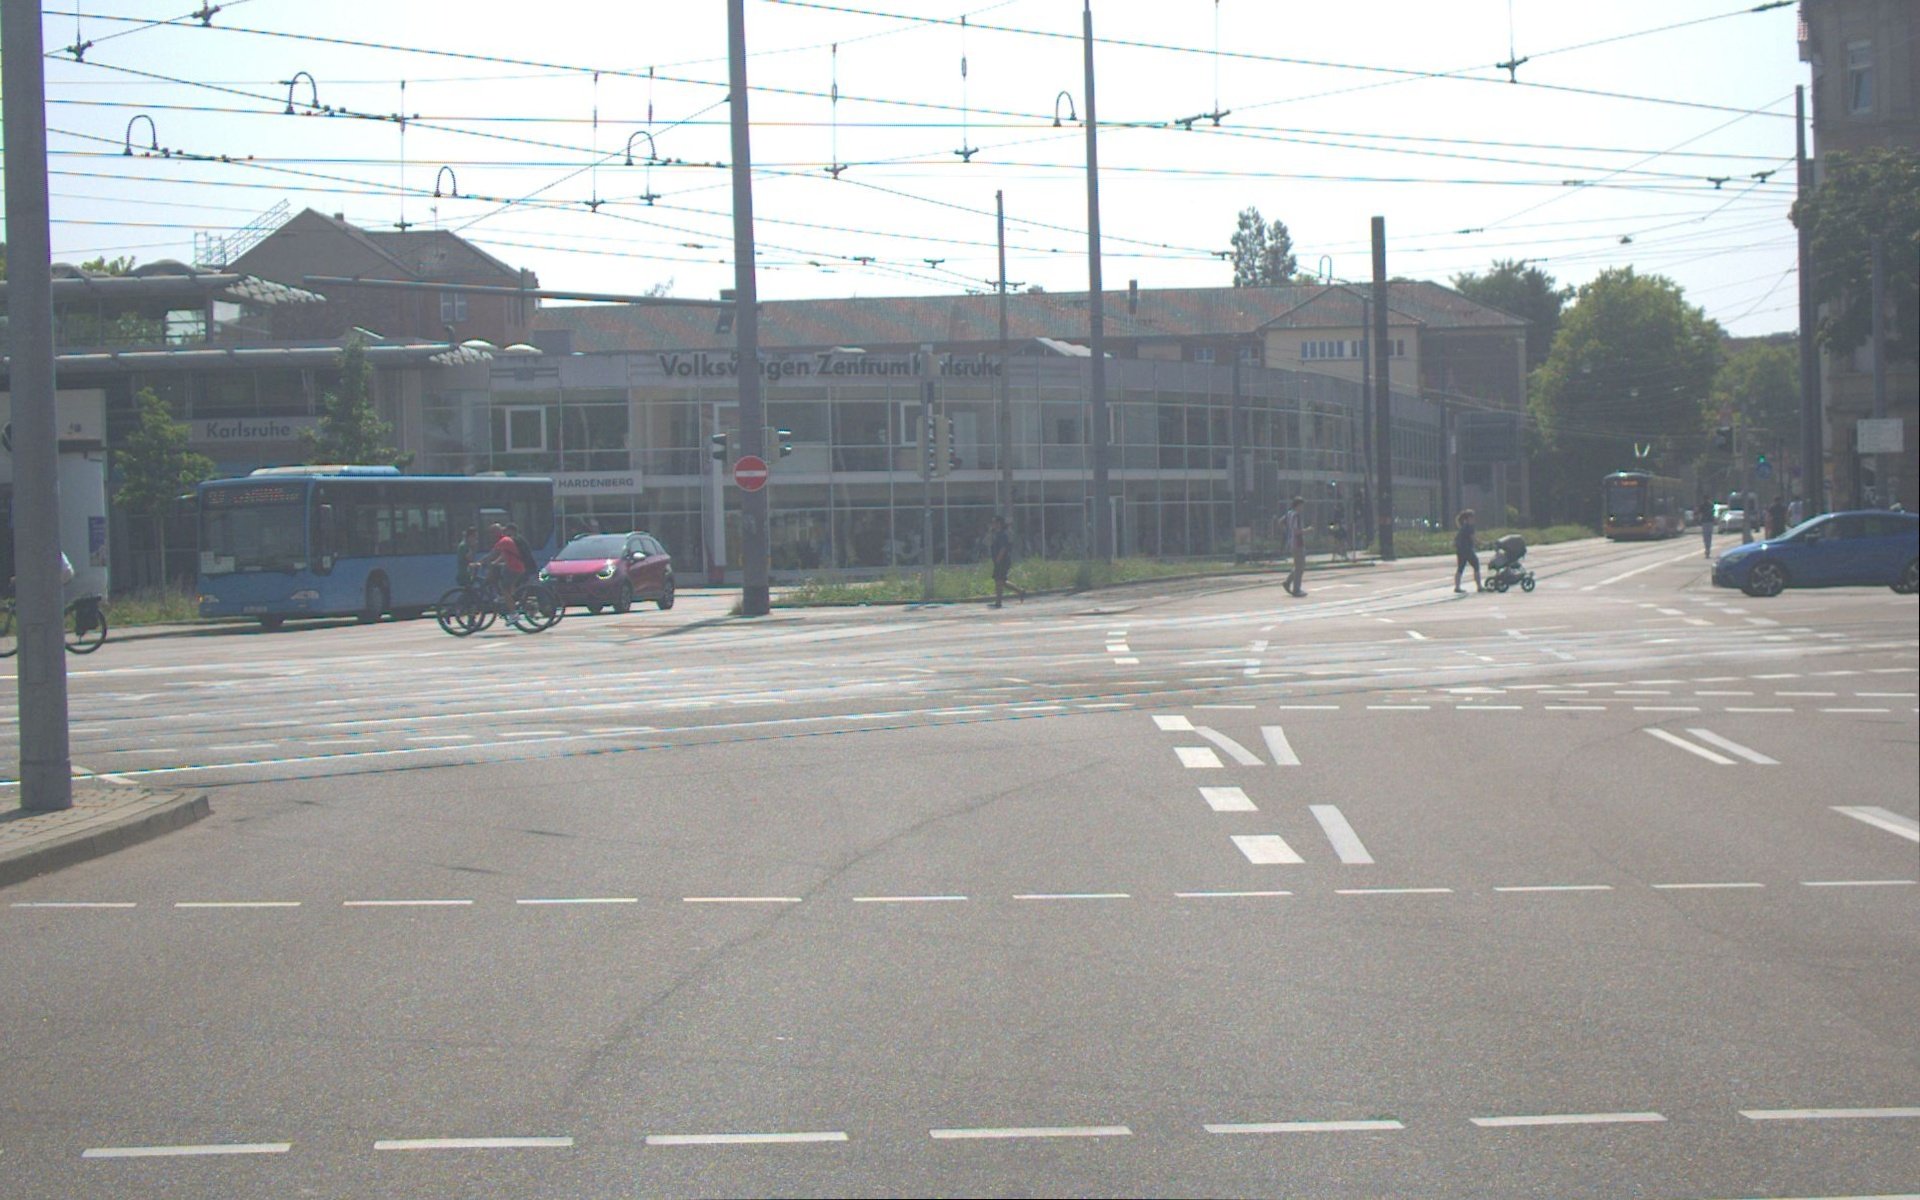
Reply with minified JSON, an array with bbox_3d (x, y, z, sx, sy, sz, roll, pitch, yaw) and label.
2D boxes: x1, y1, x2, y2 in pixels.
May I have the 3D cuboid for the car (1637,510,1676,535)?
[{"bbox_3d":[43.254,-4.828,213.510,1.799,1.503,3.996,-1,1,20],"label":"car"}]

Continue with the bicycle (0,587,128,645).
[{"bbox_3d":[-13.320,0.233,50.619,2.048,0.799,0.479,-1,1,-12],"label":"bicycle"}]

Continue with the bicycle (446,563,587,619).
[{"bbox_3d":[-6.699,-0.142,51.926,2.048,0.799,0.479,-1,1,-12],"label":"bicycle"}]

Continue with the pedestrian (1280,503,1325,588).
[{"bbox_3d":[6.545,-1.042,65.694,0.699,1.597,0.573,-1,1,-8],"label":"pedestrian"}]

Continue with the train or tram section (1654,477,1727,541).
[{"bbox_3d":[41.815,-5.204,196.383,2.590,3.504,12.961,-1,1,19],"label":"train or tram section"}]

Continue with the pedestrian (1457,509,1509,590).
[{"bbox_3d":[10.105,-0.970,66.433,0.850,1.539,0.529,-1,1,-8],"label":"pedestrian"}]

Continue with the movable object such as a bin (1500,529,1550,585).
[{"bbox_3d":[10.936,-0.836,66.548,0.812,1.073,0.512,-1,1,-11],"label":"movable object such as a bin"}]

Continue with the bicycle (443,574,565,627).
[{"bbox_3d":[-7.382,0.003,55.618,1.855,0.799,0.608,-2,1,-18],"label":"bicycle"}]

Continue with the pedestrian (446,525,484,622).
[{"bbox_3d":[-8.638,-0.462,59.998,0.552,1.678,0.454,-1,1,-18],"label":"pedestrian"}]

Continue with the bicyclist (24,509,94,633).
[{"bbox_3d":[-13.259,-0.432,50.601,0.923,1.801,0.497,-1,1,-12],"label":"bicyclist"}]

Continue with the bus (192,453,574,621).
[{"bbox_3d":[-11.422,-1.315,69.850,2.564,3.072,12.014,-1,1,17],"label":"bus"}]

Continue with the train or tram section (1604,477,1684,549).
[{"bbox_3d":[35.064,-4.455,175.902,2.590,3.504,10.889,-1,1,19],"label":"train or tram section"}]

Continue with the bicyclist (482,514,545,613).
[{"bbox_3d":[-6.740,-0.554,51.891,0.871,1.478,0.497,-1,1,-12],"label":"bicyclist"}]

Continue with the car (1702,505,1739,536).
[{"bbox_3d":[46.788,-4.870,211.480,1.821,1.803,3.997,1,1,17],"label":"car"}]

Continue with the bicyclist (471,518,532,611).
[{"bbox_3d":[-7.416,-0.579,55.599,0.871,1.470,0.546,-2,1,-18],"label":"bicyclist"}]

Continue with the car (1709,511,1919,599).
[{"bbox_3d":[14.777,-0.768,57.981,3.987,1.389,1.596,-1,1,5],"label":"car"}]

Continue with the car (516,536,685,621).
[{"bbox_3d":[-6.935,-0.434,66.705,1.751,1.546,3.997,-1,1,18],"label":"car"}]
